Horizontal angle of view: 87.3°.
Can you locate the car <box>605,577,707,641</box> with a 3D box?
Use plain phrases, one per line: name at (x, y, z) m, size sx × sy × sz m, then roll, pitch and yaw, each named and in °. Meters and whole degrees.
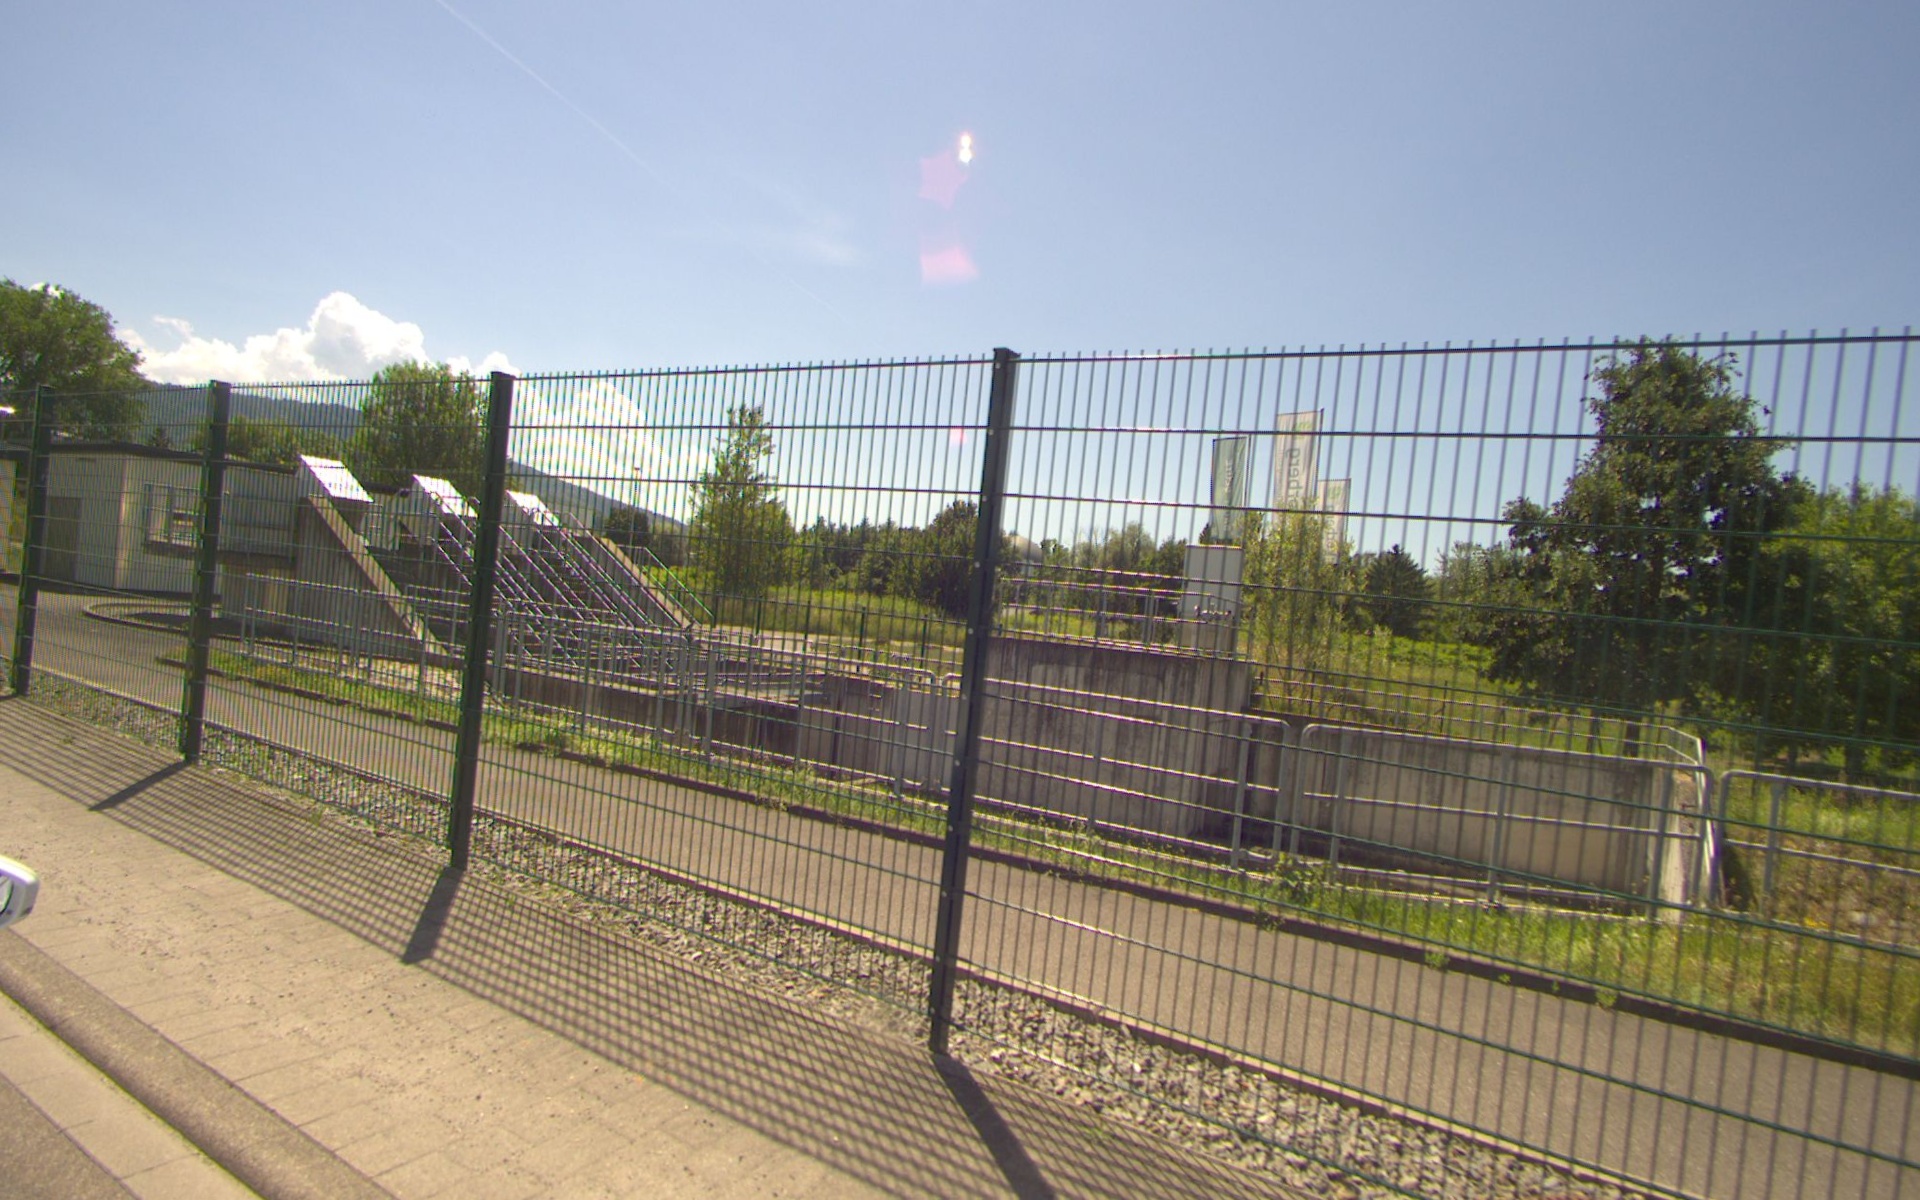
car at (-12.532, 0.348, 41.294) m, size 1.987 × 2.045 × 4.863 m, roll 8°, pitch -1°, yaw -41°
